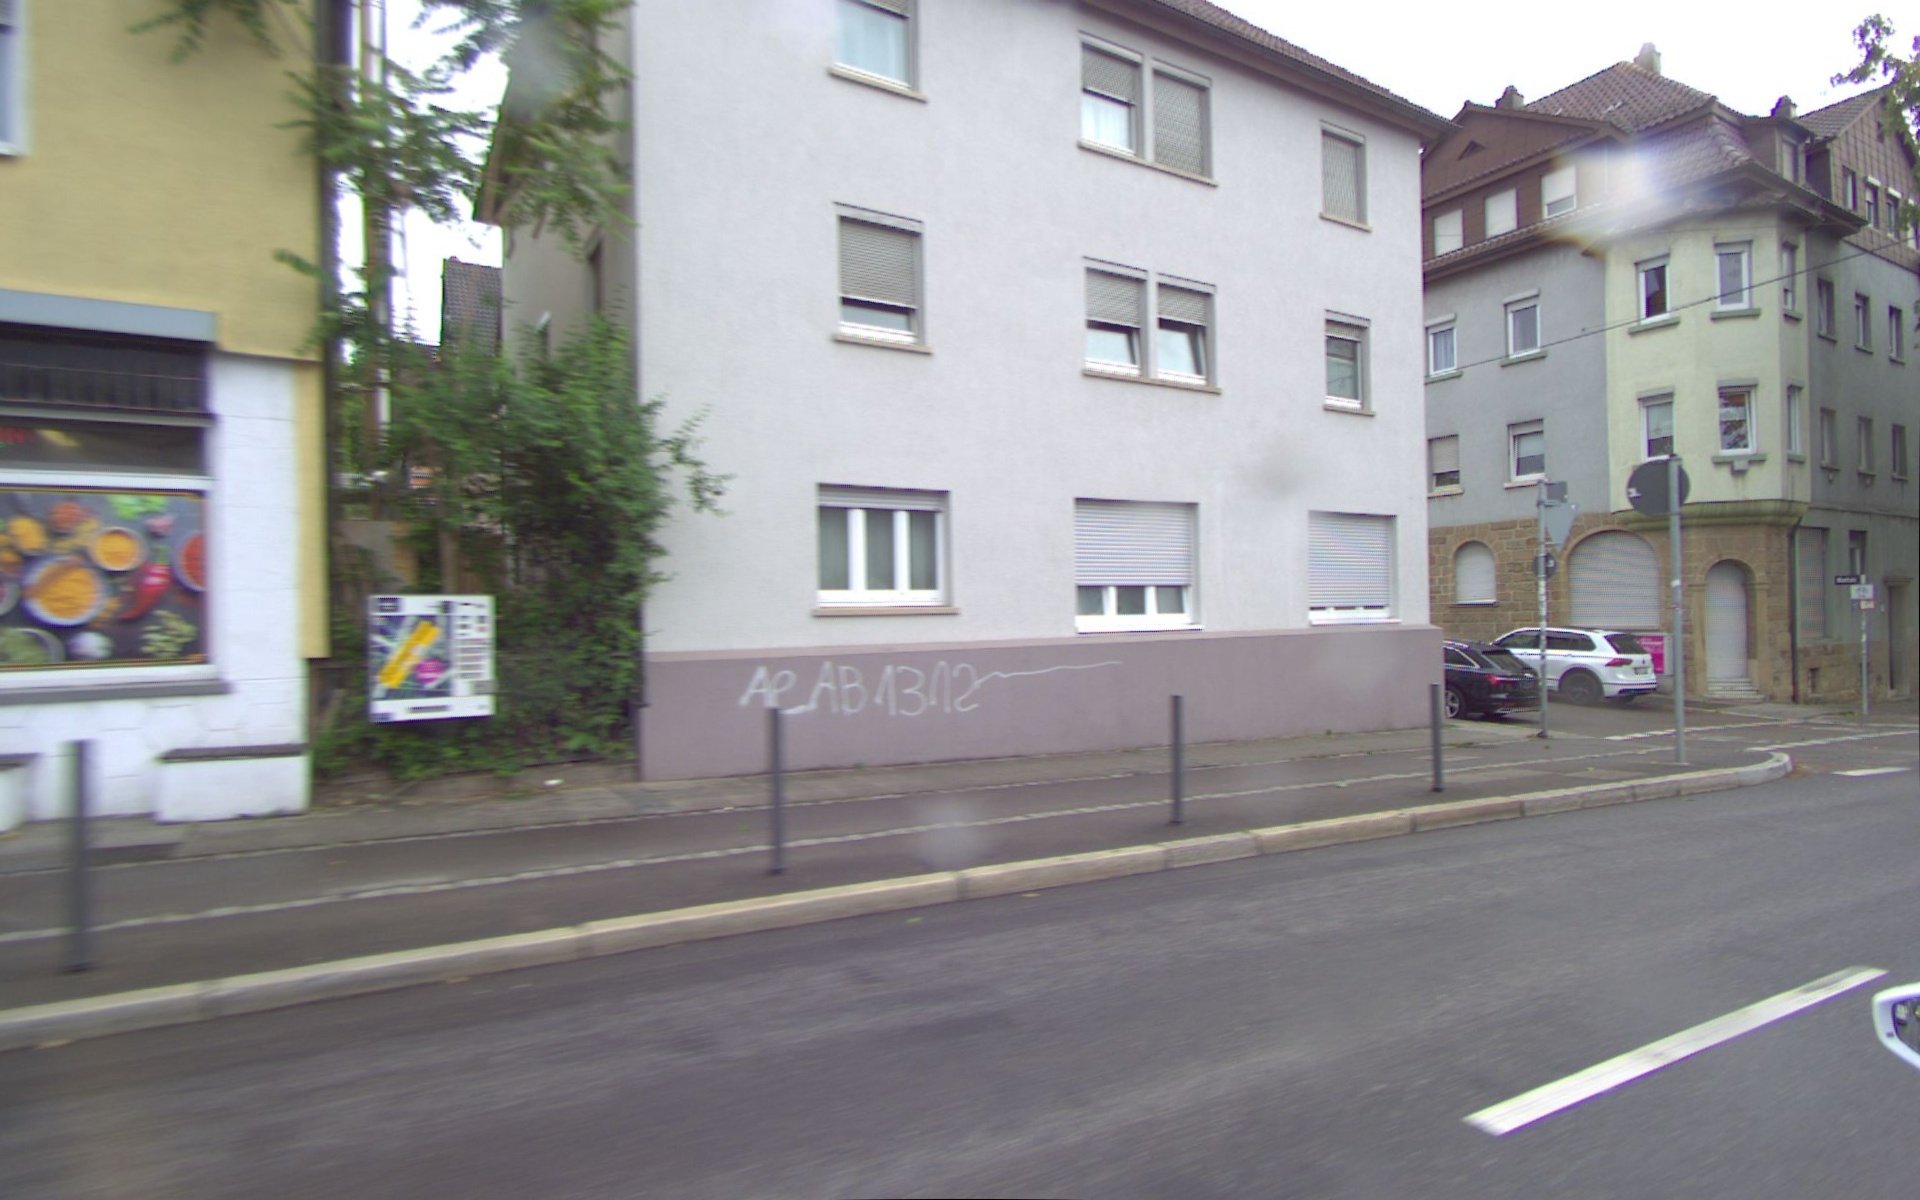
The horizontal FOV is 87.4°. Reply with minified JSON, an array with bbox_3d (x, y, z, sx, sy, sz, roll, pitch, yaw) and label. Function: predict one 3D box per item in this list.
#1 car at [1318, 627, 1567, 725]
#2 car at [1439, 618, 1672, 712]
[{"bbox_3d":[9.332,1.390,19.747,1.977,1.472,3.966,1,2,-31],"label":"car"},{"bbox_3d":[13.613,1.402,23.205,1.977,1.727,4.161,1,2,-30],"label":"car"}]
